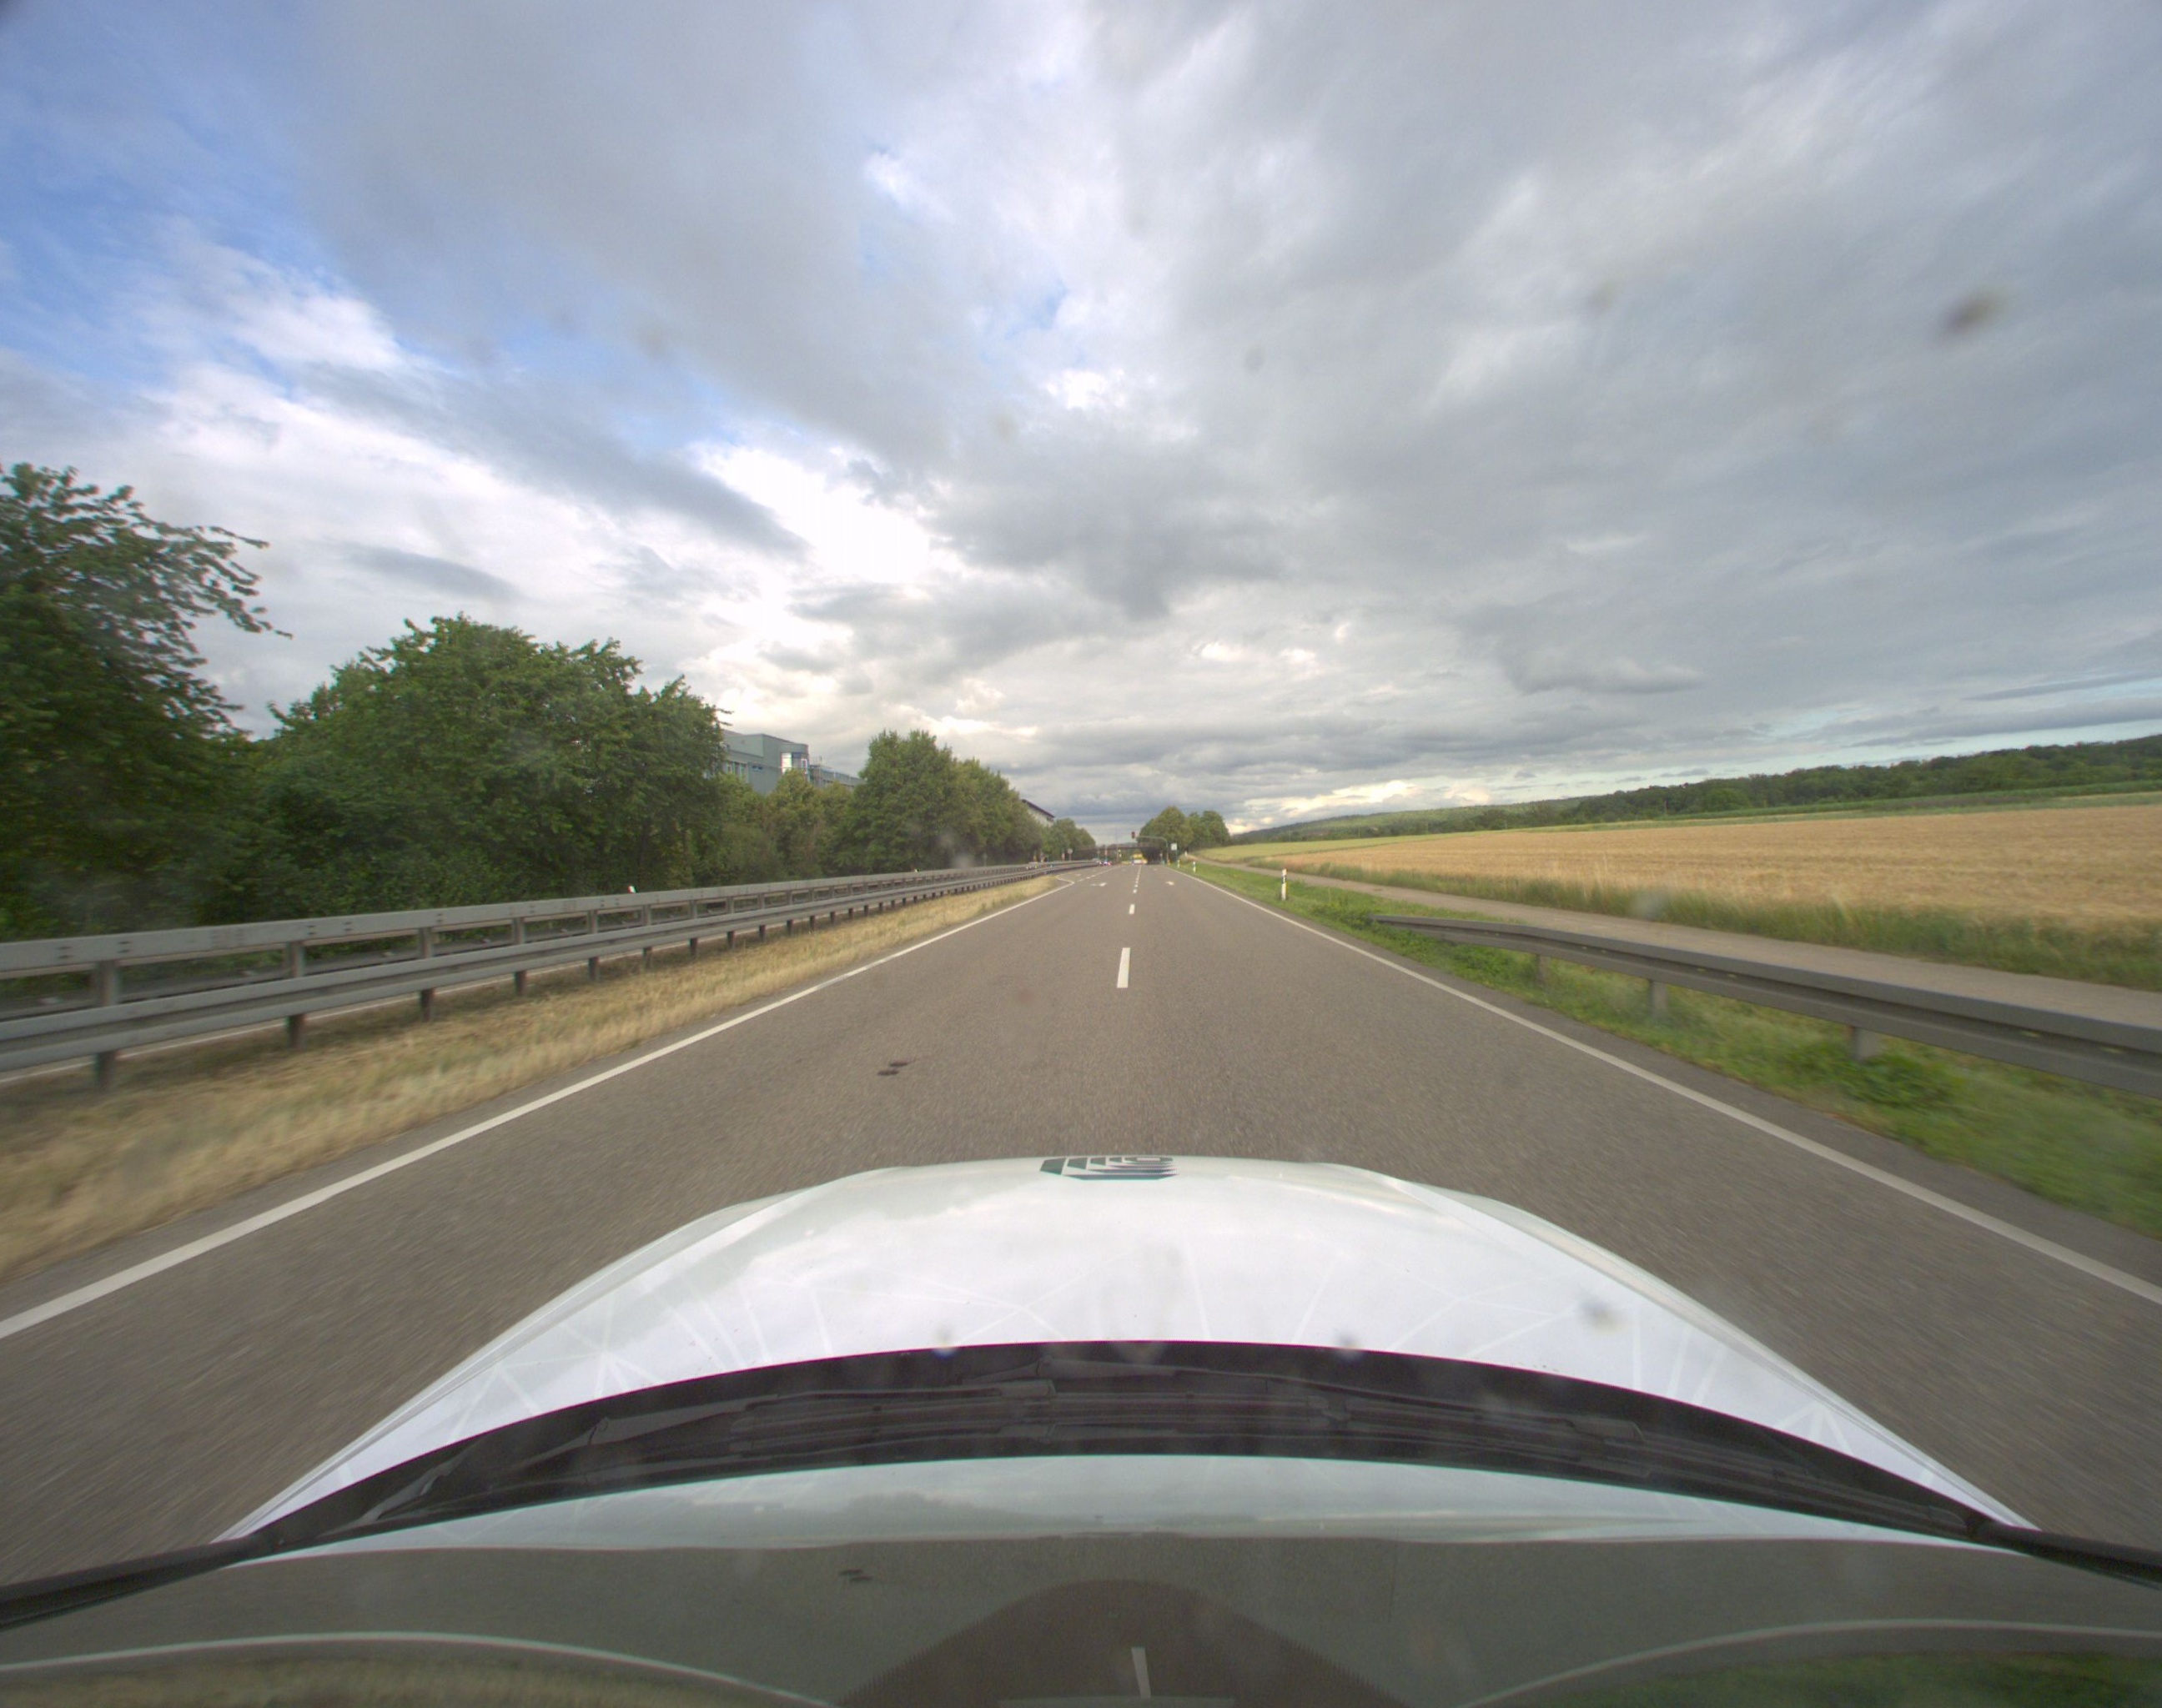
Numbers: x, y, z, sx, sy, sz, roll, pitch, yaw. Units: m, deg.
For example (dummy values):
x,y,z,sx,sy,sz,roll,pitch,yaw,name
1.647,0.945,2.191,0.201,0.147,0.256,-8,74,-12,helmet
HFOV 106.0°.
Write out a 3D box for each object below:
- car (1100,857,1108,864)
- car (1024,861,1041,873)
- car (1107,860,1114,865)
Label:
x,y,z,sx,sy,sz,roll,pitch,yaw,name
6.370,1.855,224.244,1.985,1.873,4.742,-2,0,4,car
-6.495,1.687,109.451,1.751,1.413,4.463,-2,0,3,car
6.964,2.031,192.812,1.351,1.092,2.926,-2,0,5,car
